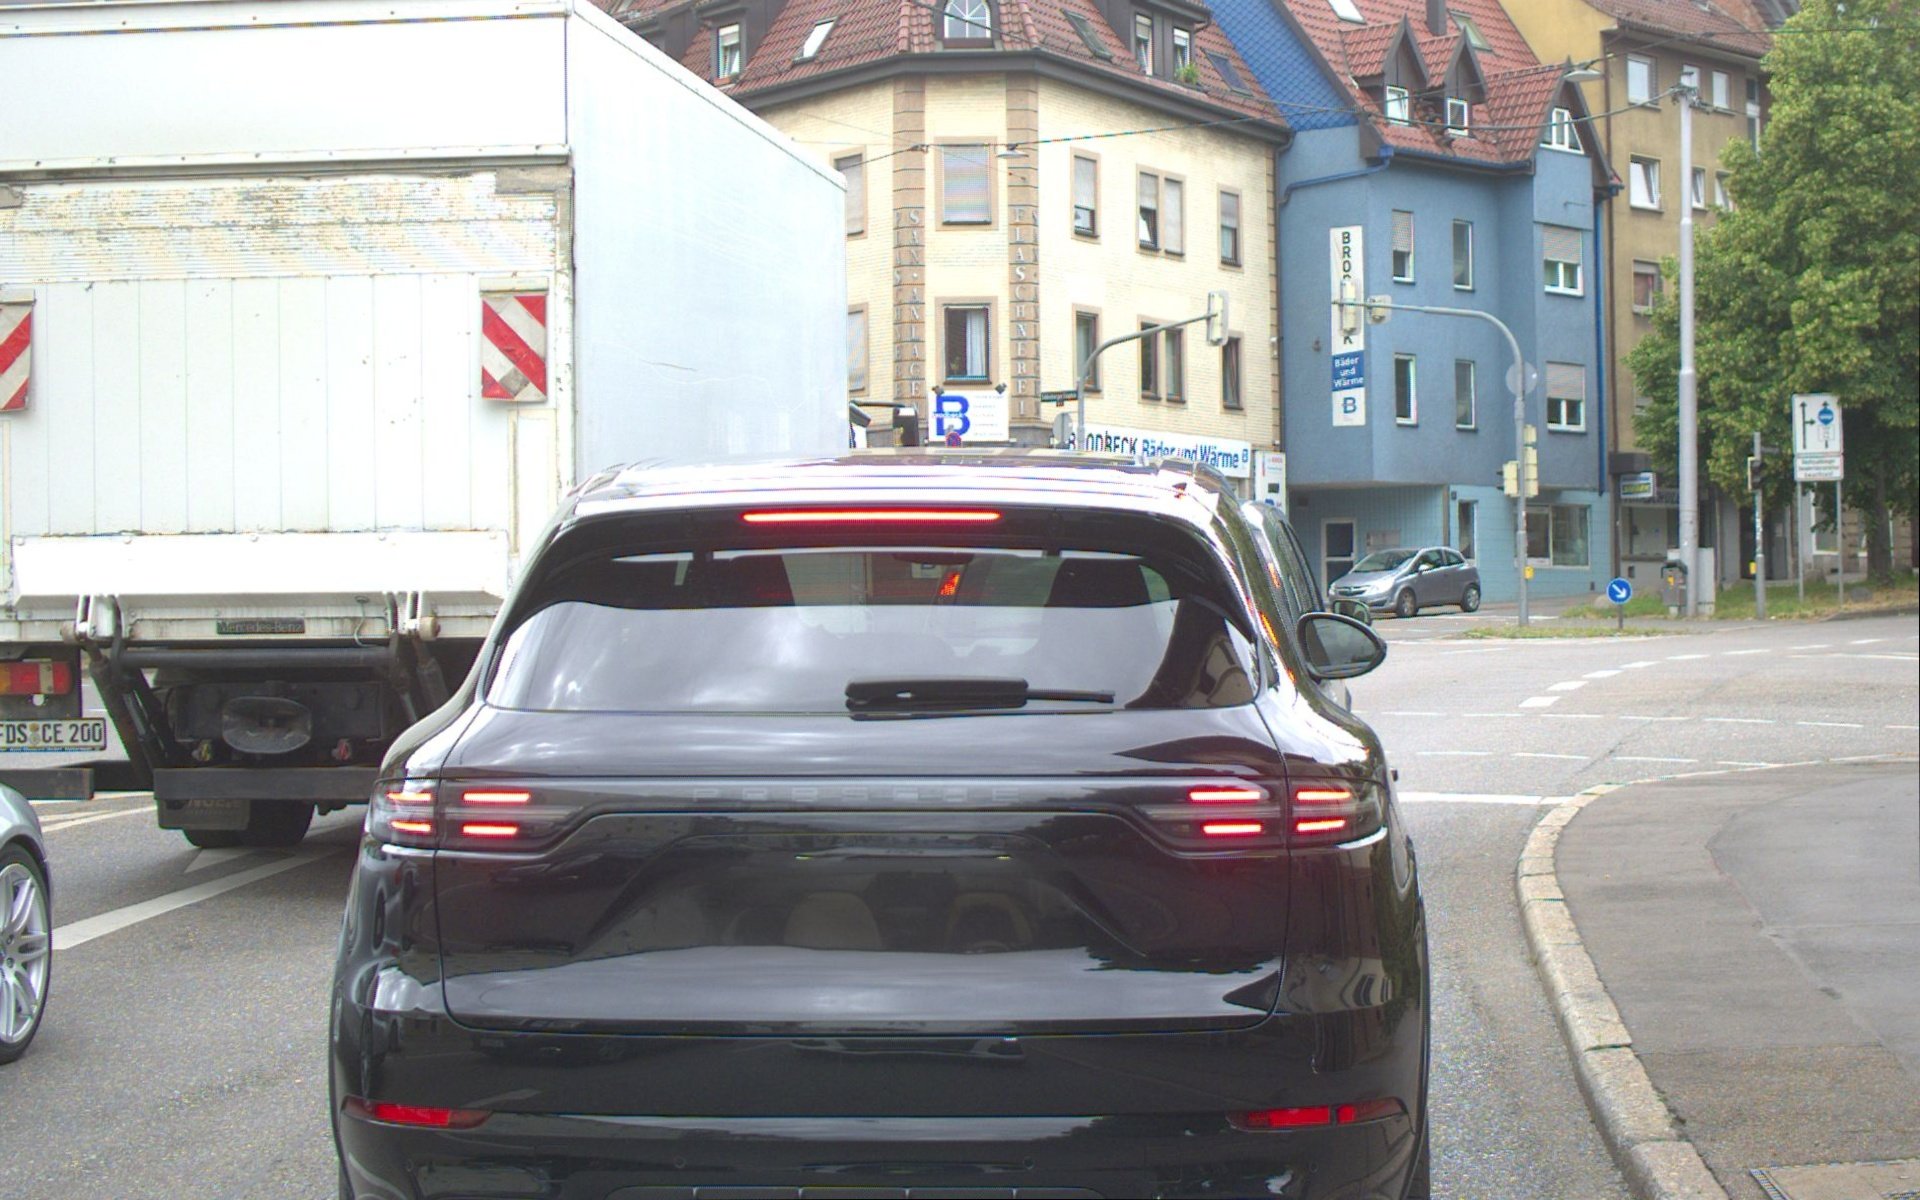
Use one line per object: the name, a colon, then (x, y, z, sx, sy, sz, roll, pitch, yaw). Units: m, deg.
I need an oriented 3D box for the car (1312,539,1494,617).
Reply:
car: (9.191, -0.436, 71.138, 1.720, 1.471, 4.208, 0, -1, 40)

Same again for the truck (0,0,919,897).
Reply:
truck: (-2.218, -0.713, 17.336, 2.726, 3.532, 8.419, -1, 1, 8)

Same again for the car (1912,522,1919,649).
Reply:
car: (13.496, -0.103, 40.449, 1.994, 1.525, 3.999, 0, 2, -38)

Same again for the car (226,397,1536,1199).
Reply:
car: (-0.151, 0.528, 7.626, 2.031, 1.717, 4.500, 1, 1, -1)

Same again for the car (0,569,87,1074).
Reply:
car: (-3.509, 0.645, 8.052, 1.629, 1.360, 4.128, -1, 1, 4)

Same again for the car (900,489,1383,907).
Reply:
car: (0.895, 0.350, 14.793, 1.649, 1.550, 3.581, 1, 1, 10)
